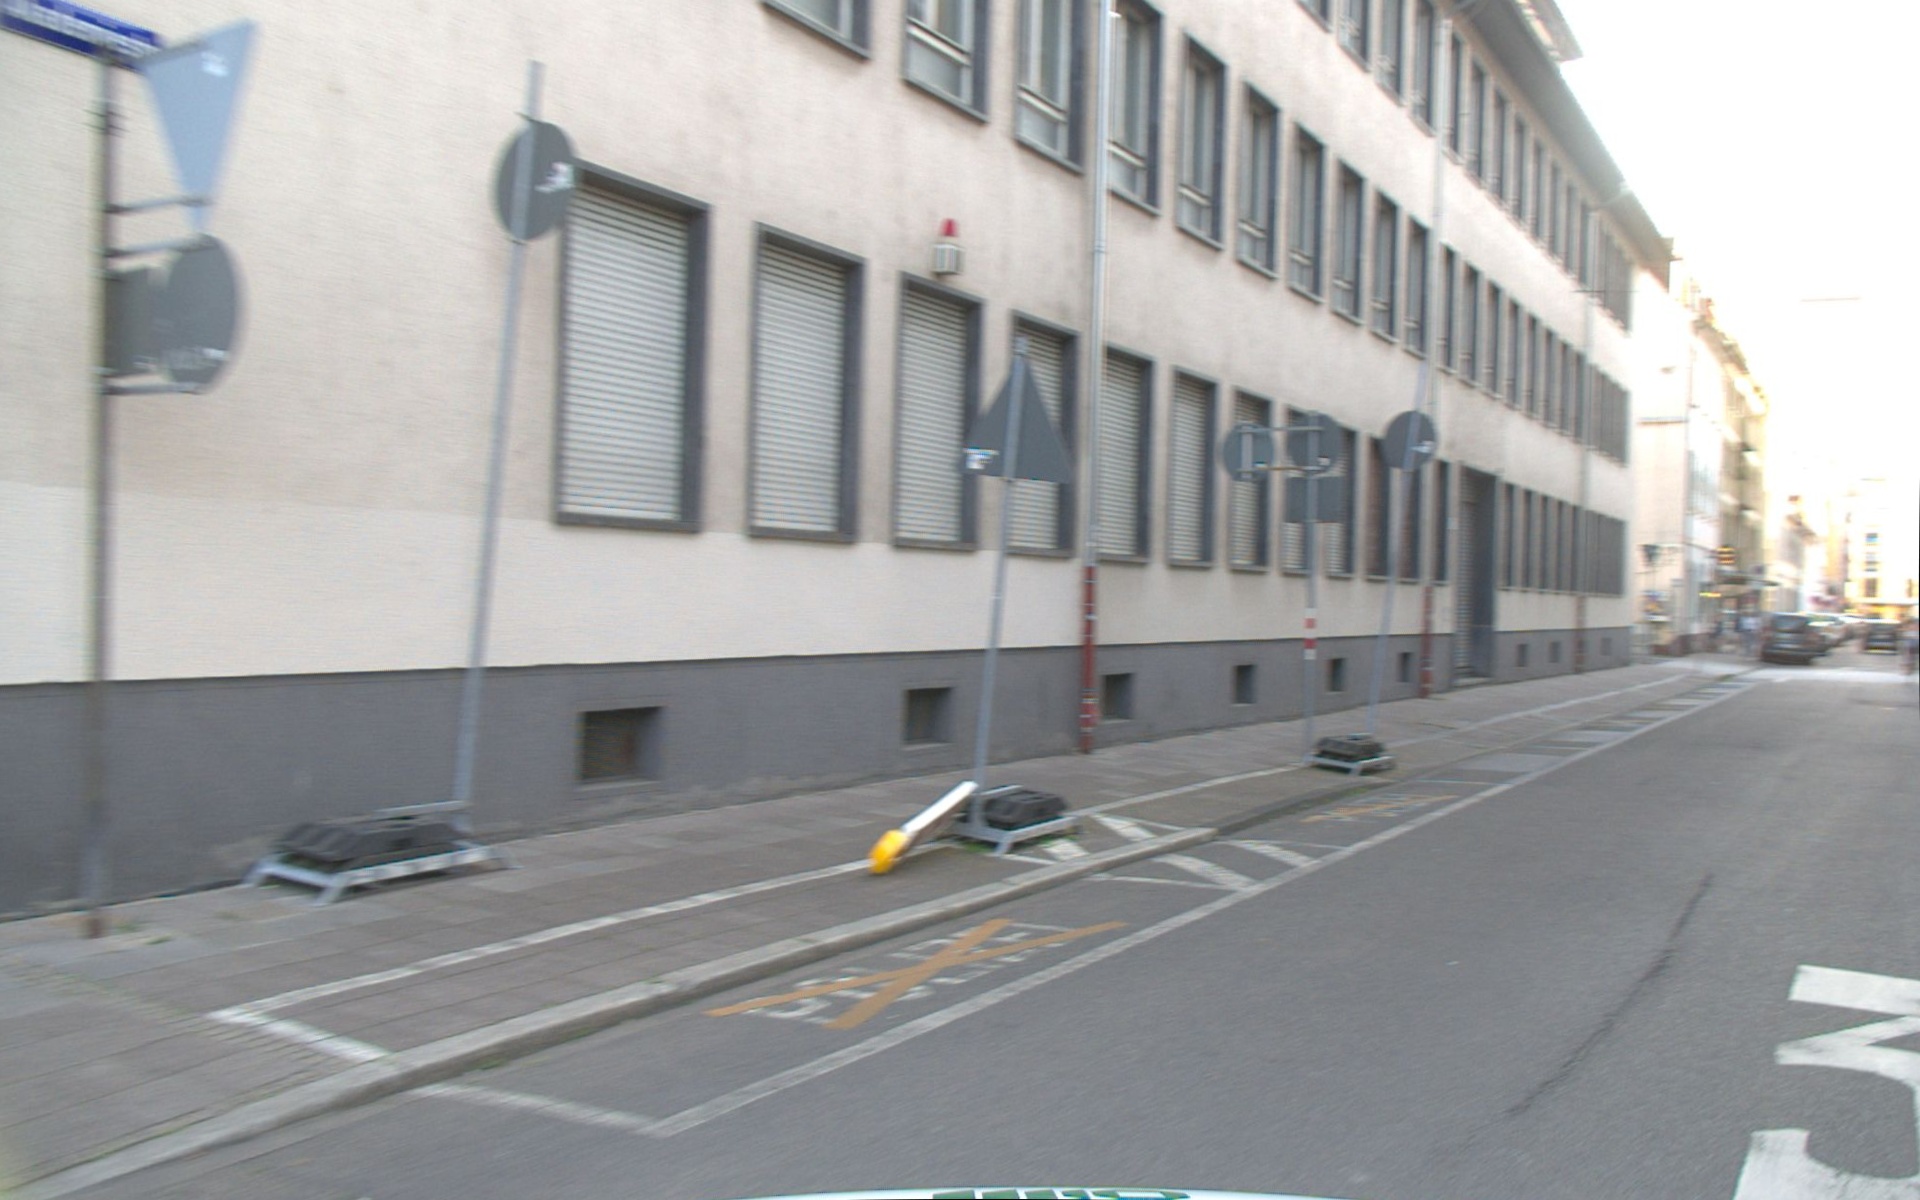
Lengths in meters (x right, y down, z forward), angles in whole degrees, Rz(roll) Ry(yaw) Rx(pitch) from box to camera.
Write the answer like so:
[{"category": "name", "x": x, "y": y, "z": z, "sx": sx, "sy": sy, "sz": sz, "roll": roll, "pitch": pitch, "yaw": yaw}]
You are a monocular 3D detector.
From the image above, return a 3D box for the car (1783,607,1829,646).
[{"category": "car", "x": 41.559, "y": 1.297, "z": 81.286, "sx": 1.955, "sy": 1.847, "sz": 3.995, "roll": 1, "pitch": 0, "yaw": 27}]

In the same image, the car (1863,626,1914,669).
[{"category": "car", "x": 45.004, "y": 2.276, "z": 80.215, "sx": 1.955, "sy": 1.937, "sz": 3.995, "roll": 1, "pitch": 0, "yaw": 27}]

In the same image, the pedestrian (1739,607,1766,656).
[{"category": "pedestrian", "x": 31.672, "y": 1.246, "z": 66.065, "sx": 0.751, "sy": 1.945, "sz": 0.724, "roll": 1, "pitch": -1, "yaw": -41}]

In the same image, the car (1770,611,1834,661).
[{"category": "car", "x": 30.981, "y": 1.288, "z": 60.803, "sx": 1.956, "sy": 1.758, "sz": 3.993, "roll": 1, "pitch": 0, "yaw": 29}]

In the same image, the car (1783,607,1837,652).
[{"category": "car", "x": 36.468, "y": 1.242, "z": 71.000, "sx": 1.954, "sy": 1.847, "sz": 3.996, "roll": 1, "pitch": 0, "yaw": 26}]

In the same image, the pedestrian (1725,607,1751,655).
[{"category": "pedestrian", "x": 31.509, "y": 1.253, "z": 66.969, "sx": 0.751, "sy": 1.945, "sz": 0.724, "roll": 1, "pitch": -1, "yaw": -41}]

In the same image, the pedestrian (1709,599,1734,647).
[{"category": "pedestrian", "x": 29.823, "y": 0.913, "z": 64.767, "sx": 0.739, "sy": 1.861, "sz": 0.736, "roll": 1, "pitch": 0, "yaw": 13}]

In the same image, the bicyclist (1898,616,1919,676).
[{"category": "bicyclist", "x": 25.933, "y": 1.250, "z": 44.886, "sx": 0.774, "sy": 1.611, "sz": 1.010, "roll": 1, "pitch": 0, "yaw": 31}]

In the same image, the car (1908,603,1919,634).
[{"category": "car", "x": 61.036, "y": 1.179, "z": 104.251, "sx": 1.955, "sy": 1.919, "sz": 4.167, "roll": 1, "pitch": 0, "yaw": 27}]

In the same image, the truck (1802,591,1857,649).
[{"category": "truck", "x": 56.345, "y": 1.285, "z": 107.381, "sx": 2.716, "sy": 3.566, "sz": 9.607, "roll": 1, "pitch": 0, "yaw": 26}]

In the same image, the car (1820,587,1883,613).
[{"category": "car", "x": 66.426, "y": 0.026, "z": 123.288, "sx": 3.908, "sy": 1.801, "sz": 2.014, "roll": 2, "pitch": 0, "yaw": 25}]

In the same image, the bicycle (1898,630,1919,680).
[{"category": "bicycle", "x": 25.899, "y": 1.482, "z": 44.813, "sx": 0.779, "sy": 1.299, "sz": 2.572, "roll": 1, "pitch": 0, "yaw": 31}]

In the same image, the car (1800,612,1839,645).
[{"category": "car", "x": 50.462, "y": 1.676, "z": 97.121, "sx": 1.956, "sy": 1.847, "sz": 3.994, "roll": 1, "pitch": 0, "yaw": 28}]
